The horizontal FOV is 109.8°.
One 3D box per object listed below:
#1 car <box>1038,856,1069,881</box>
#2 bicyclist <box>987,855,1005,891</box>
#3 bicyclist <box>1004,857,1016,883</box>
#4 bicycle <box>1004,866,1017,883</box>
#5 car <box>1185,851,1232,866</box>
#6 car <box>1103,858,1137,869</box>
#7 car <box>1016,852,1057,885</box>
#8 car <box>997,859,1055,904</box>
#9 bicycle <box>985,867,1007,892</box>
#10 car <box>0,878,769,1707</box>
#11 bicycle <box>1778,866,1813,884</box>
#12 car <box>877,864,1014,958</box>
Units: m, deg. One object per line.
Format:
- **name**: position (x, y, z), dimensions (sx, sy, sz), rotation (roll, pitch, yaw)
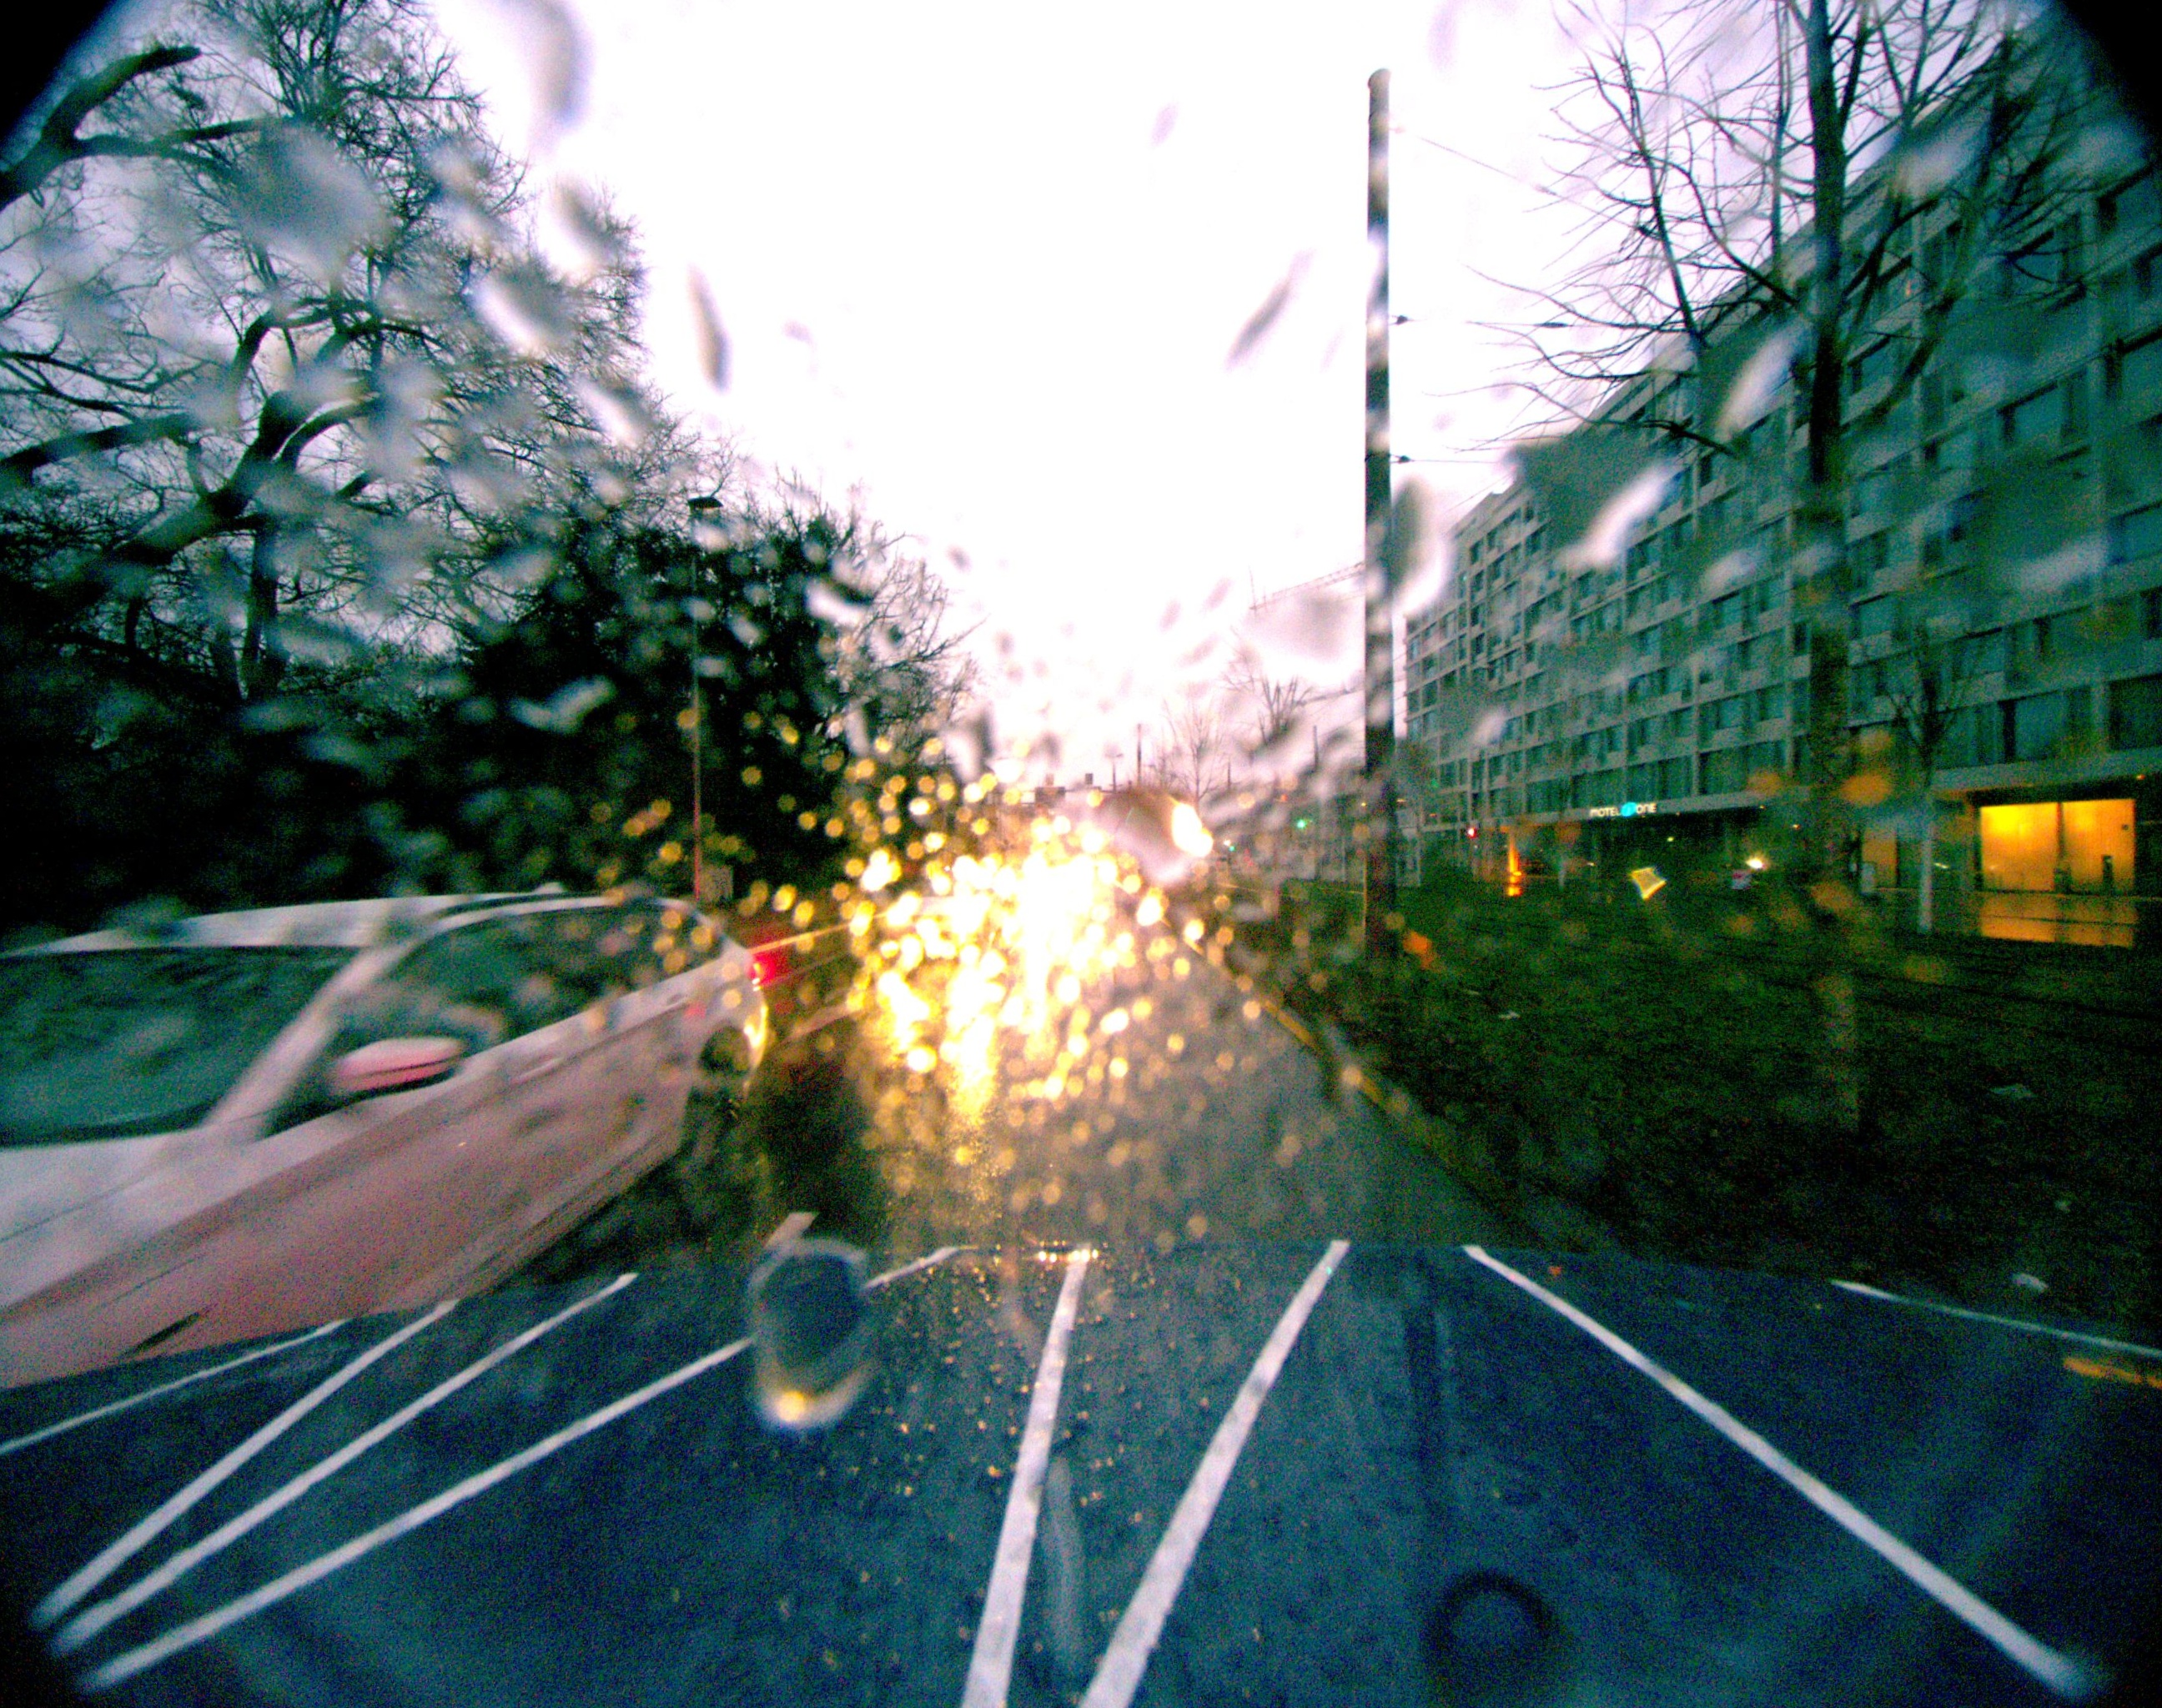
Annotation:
- **car**: position (-1.946, 1.043, 55.147), dimensions (1.998, 1.618, 4.268), rotation (-2, 0, 1)
- **bicyclist**: position (-5.371, 1.190, 47.921), dimensions (0.968, 2.210, 0.935), rotation (-2, 1, 0)
- **bicyclist**: position (-4.761, 1.081, 51.143), dimensions (0.691, 1.675, 0.593), rotation (-2, 1, 1)
- **bicycle**: position (-4.749, 1.390, 51.184), dimensions (0.691, 1.036, 1.721), rotation (-2, 0, 1)
- **car**: position (14.655, 0.528, 87.652), dimensions (2.093, 1.659, 5.029), rotation (0, 0, -44)
- **car**: position (4.852, 1.146, 94.365), dimensions (3.994, 1.300, 1.819), rotation (0, 0, 10)
- **car**: position (-2.412, 0.765, 41.842), dimensions (2.073, 1.618, 4.267), rotation (-2, 0, -2)
- **car**: position (-2.188, 1.060, 31.184), dimensions (2.073, 1.618, 4.267), rotation (-2, 0, -1)
- **bicycle**: position (-5.348, 1.574, 48.056), dimensions (0.967, 1.442, 3.389), rotation (-2, 0, 0)
- **car**: position (-2.871, 0.931, 2.462), dimensions (1.868, 1.547, 4.937), rotation (0, 0, -3)
- **bicycle**: position (36.320, 1.082, 38.617), dimensions (1.349, 0.849, 0.465), rotation (-2, 1, -1)
- **car**: position (-2.493, 1.005, 15.019), dimensions (1.886, 1.552, 4.171), rotation (0, 0, 1)
